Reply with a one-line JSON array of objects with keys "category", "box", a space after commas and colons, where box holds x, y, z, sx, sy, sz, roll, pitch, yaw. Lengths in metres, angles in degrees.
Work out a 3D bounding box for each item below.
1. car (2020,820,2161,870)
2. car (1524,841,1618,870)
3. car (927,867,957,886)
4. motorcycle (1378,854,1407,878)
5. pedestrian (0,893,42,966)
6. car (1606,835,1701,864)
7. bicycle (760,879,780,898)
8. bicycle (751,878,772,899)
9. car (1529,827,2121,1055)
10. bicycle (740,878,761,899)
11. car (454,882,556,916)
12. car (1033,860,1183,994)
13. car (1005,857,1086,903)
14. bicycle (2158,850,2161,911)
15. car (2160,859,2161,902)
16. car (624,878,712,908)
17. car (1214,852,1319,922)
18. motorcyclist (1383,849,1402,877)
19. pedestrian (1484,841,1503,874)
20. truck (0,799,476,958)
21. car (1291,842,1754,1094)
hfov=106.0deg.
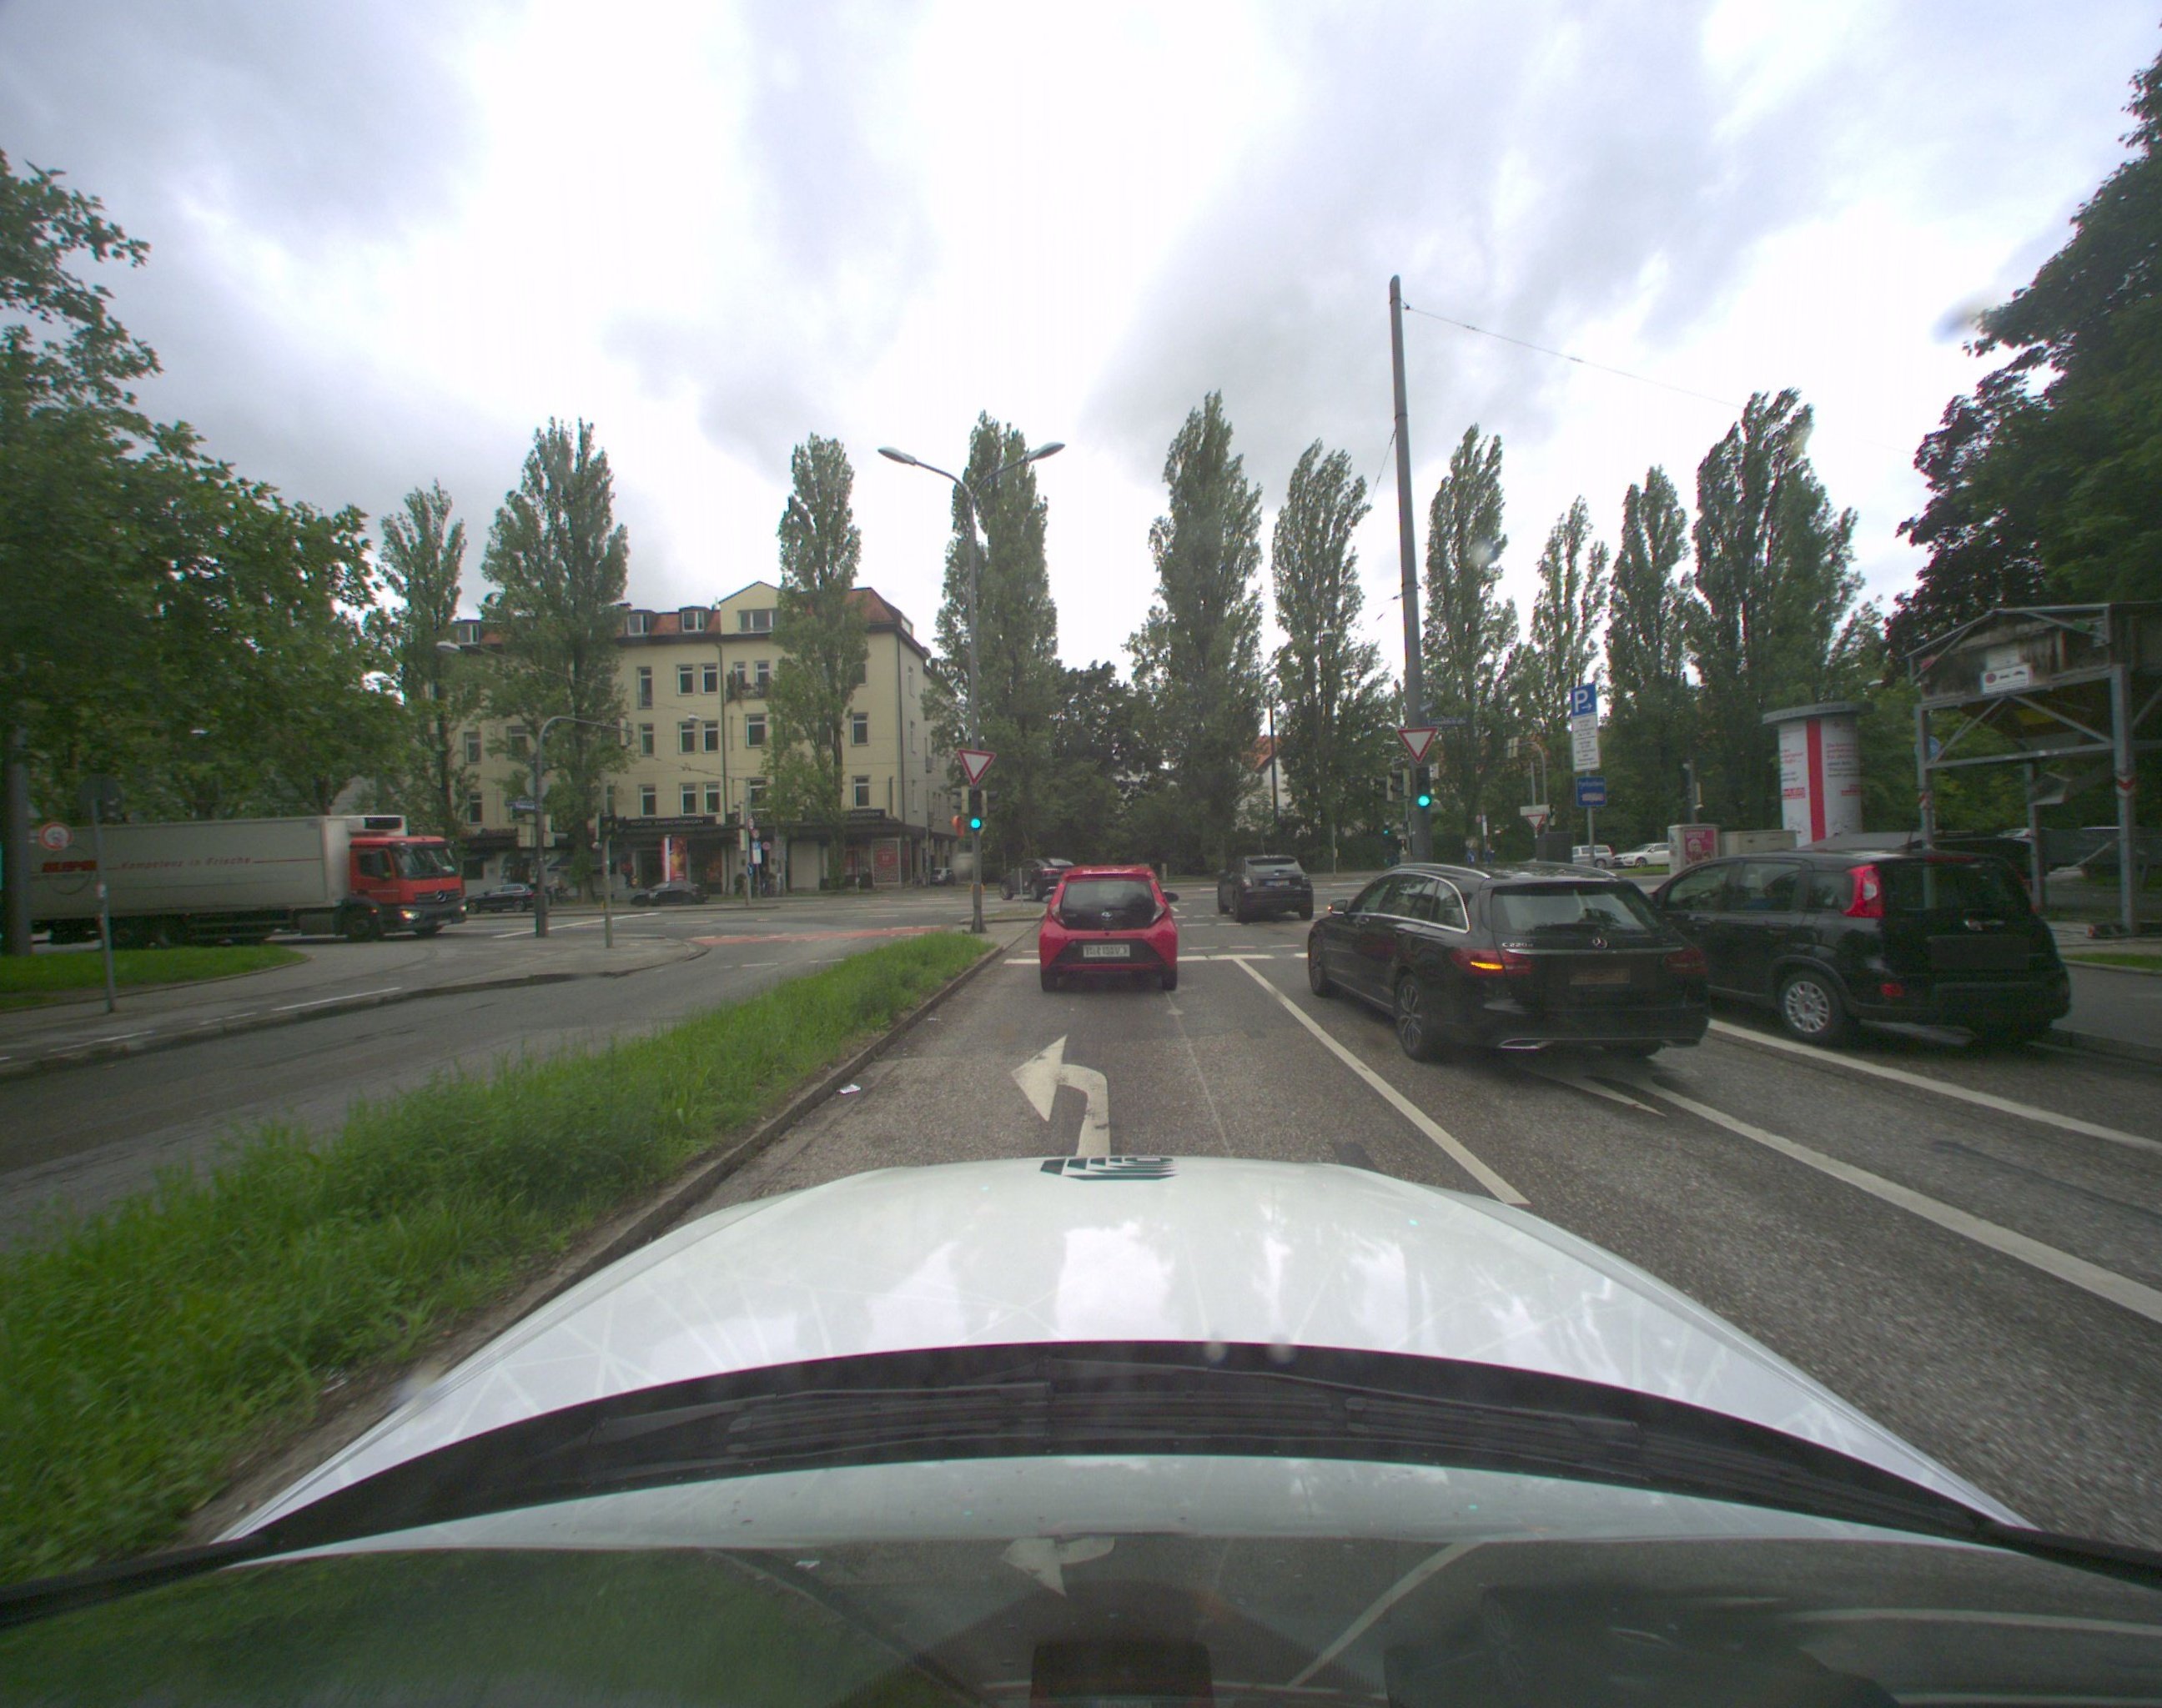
[{"category": "car", "box": [32.051, -0.295, 25.114, 4.350, 1.407, 1.729, -2, -1, -3]}, {"category": "car", "box": [28.342, 0.106, 47.174, 4.323, 1.486, 1.787, -2, -1, 1]}, {"category": "car", "box": [-11.184, 1.779, 65.625, 1.720, 1.442, 3.998, -2, -1, -1]}, {"category": "motorcycle", "box": [15.877, 0.603, 41.512, 0.627, 1.170, 2.027, 0, -1, -2]}, {"category": "pedestrian", "box": [-25.542, 1.795, 19.405, 0.660, 1.663, 0.683, -2, -1, -10]}, {"category": "car", "box": [33.509, -0.233, 47.724, 4.230, 1.486, 1.787, -2, -1, 1]}, {"category": "bicycle", "box": [-19.113, 2.121, 50.105, 0.493, 1.082, 1.889, -2, -1, 0]}, {"category": "bicycle", "box": [-19.638, 2.118, 50.070, 0.493, 1.185, 1.889, -2, -1, 0]}, {"category": "car", "box": [6.483, 0.632, 8.022, 1.822, 1.549, 4.559, -2, -1, 4]}, {"category": "bicycle", "box": [-20.333, 2.127, 50.169, 0.493, 1.185, 1.889, -2, -1, 0]}, {"category": "car", "box": [-32.394, 2.513, 45.879, 4.439, 1.612, 1.727, -2, -1, 1]}, {"category": "car", "box": [0.416, 0.827, 10.810, 1.621, 1.440, 3.380, -2, -1, 4]}, {"category": "car", "box": [-1.451, 0.978, 31.387, 1.742, 1.549, 4.544, -2, -1, -21]}, {"category": "bicycle", "box": [15.459, 0.391, 11.137, 0.309, 0.894, 1.421, -1, 0, 28]}, {"category": "car", "box": [6.125, 0.703, 1.639, 1.761, 1.461, 4.642, -2, -1, 1]}, {"category": "car", "box": [-23.169, 2.185, 45.821, 3.976, 1.466, 1.804, -2, -1, -2]}, {"category": "car", "box": [4.429, 0.759, 19.998, 1.774, 1.486, 4.002, -2, -1, 2]}, {"category": "motorcyclist", "box": [15.870, 0.470, 41.530, 0.617, 1.443, 0.881, 0, -1, -3]}, {"category": "pedestrian", "box": [21.219, 0.191, 41.872, 0.693, 1.663, 0.555, -2, -2, 43]}, {"category": "truck", "box": [-24.927, 0.695, 24.290, 11.632, 3.980, 2.750, -2, 0, 1]}, {"category": "car", "box": [3.335, 0.727, 7.404, 1.856, 1.549, 4.707, -1, 0, 3]}]
